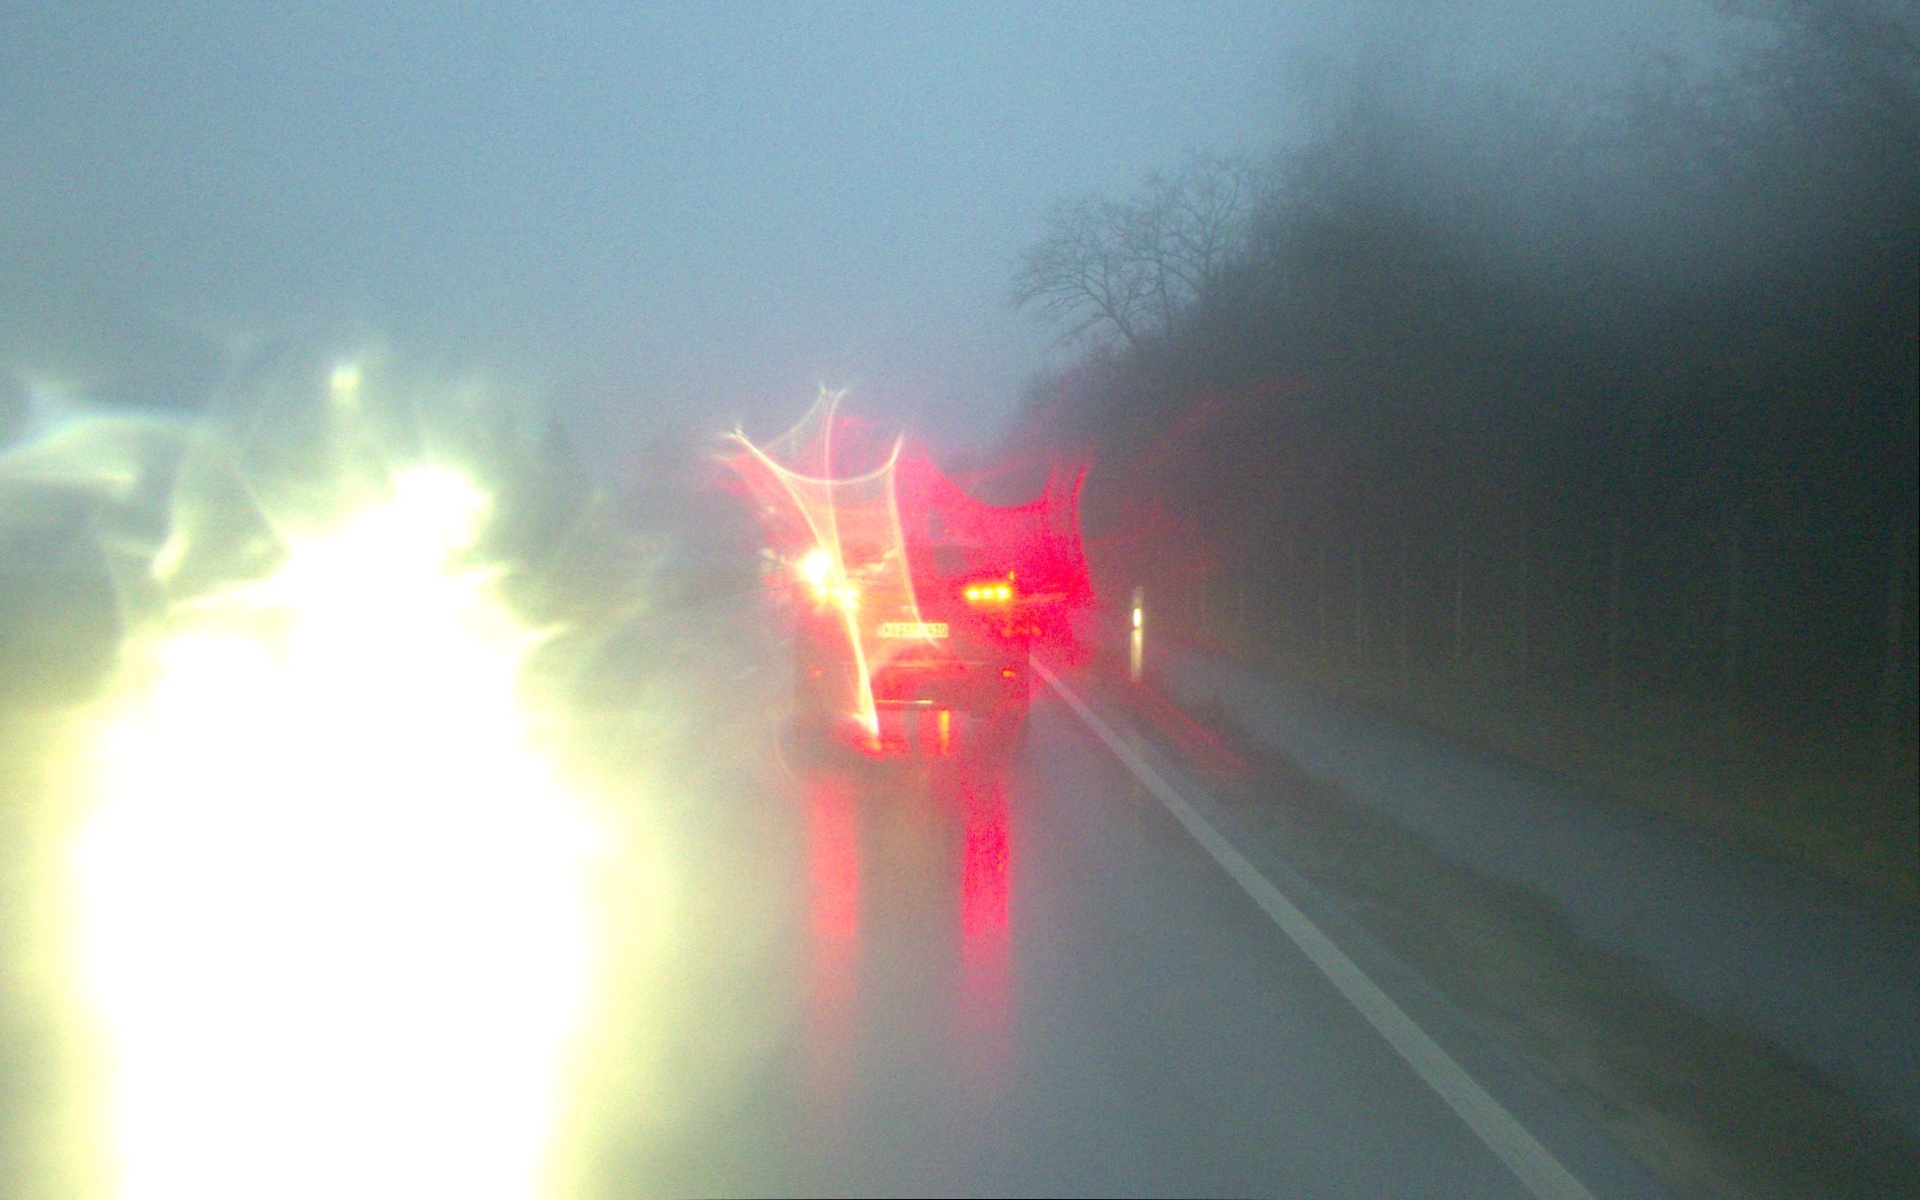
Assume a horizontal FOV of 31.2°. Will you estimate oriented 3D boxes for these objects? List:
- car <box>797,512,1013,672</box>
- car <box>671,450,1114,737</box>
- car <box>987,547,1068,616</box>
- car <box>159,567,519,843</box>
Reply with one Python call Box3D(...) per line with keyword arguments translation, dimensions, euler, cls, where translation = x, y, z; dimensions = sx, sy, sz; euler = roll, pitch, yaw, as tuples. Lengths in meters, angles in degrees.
Box3D(translation=(-0.750, -0.164, 47.494), dimensions=(2.756, 2.028, 6.591), euler=(-1, 1, -1), cls="car")
Box3D(translation=(-0.531, -0.114, 28.220), dimensions=(3.164, 2.028, 6.852), euler=(-1, 1, -1), cls="car")
Box3D(translation=(1.743, -0.496, 89.719), dimensions=(1.928, 1.744, 4.000), euler=(1, 1, -1), cls="car")
Box3D(translation=(-4.238, 0.649, 24.093), dimensions=(1.729, 1.640, 4.262), euler=(-3, 1, -1), cls="car")
